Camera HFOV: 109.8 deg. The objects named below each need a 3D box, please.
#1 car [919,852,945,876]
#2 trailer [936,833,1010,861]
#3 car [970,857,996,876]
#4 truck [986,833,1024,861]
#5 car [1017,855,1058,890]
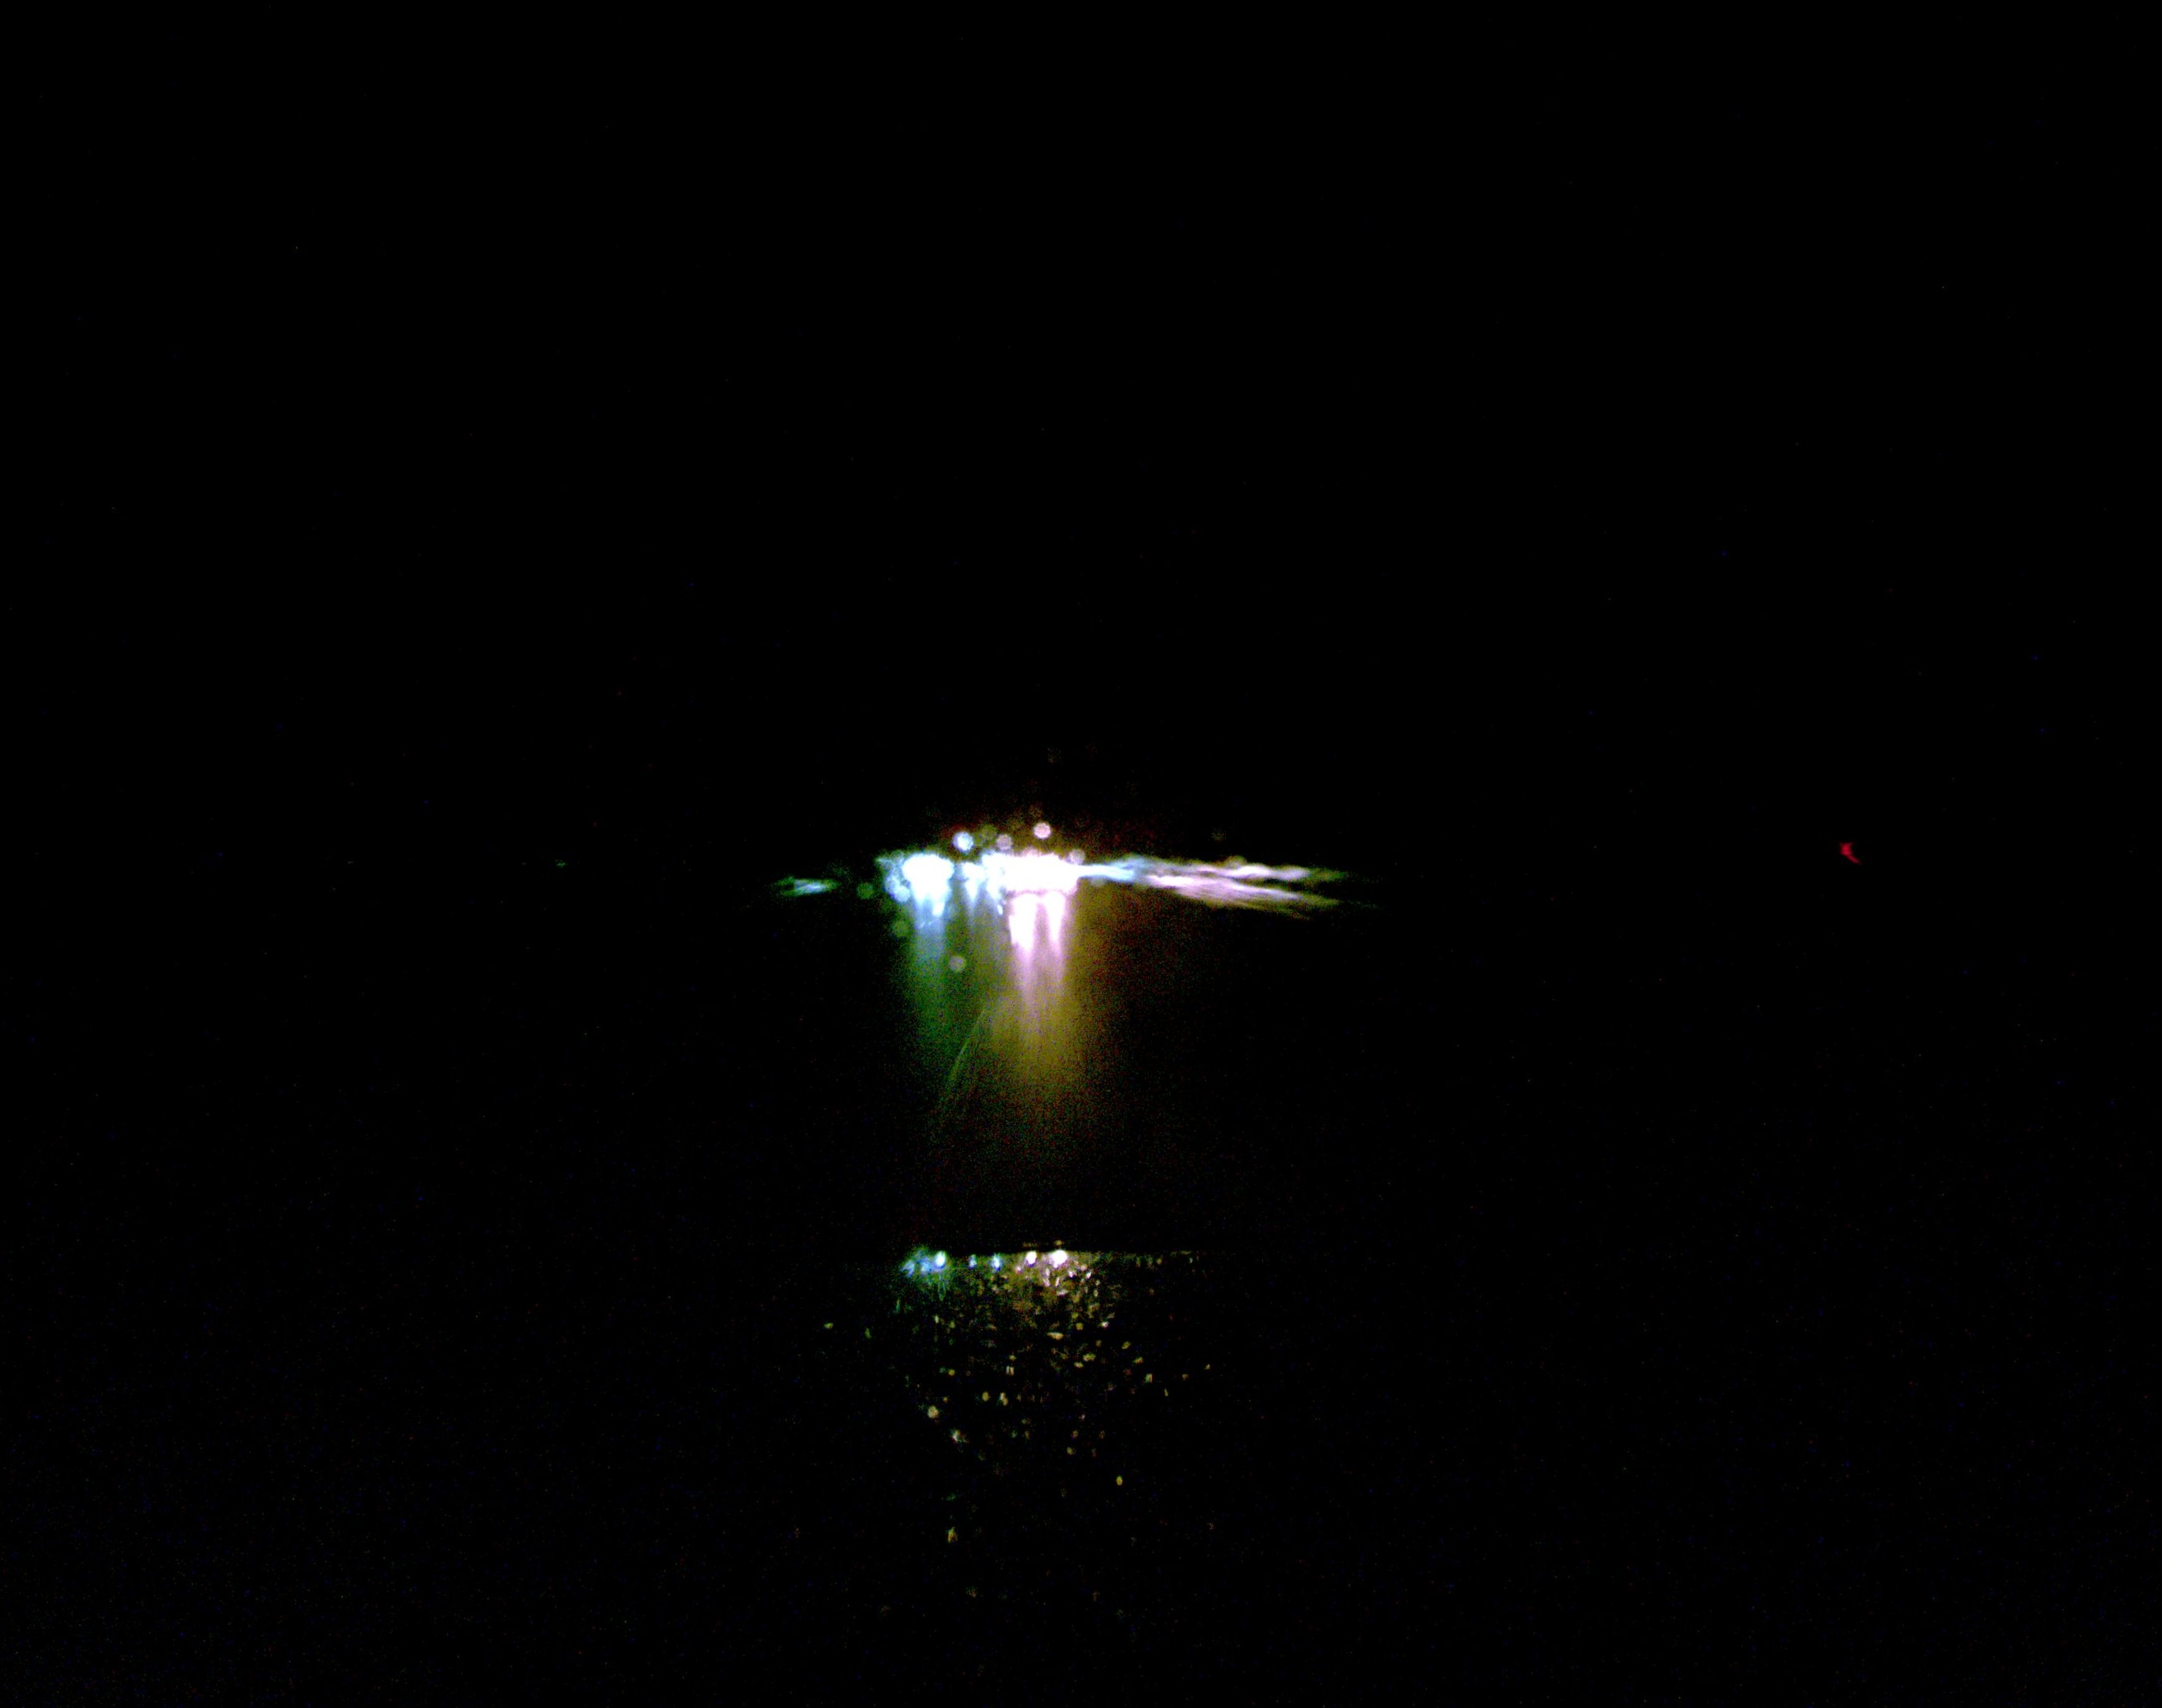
[{"bbox_3d":[-11.394,0.745,58.218,1.742,1.674,4.116,-2,2,-9],"label":"car"},{"bbox_3d":[-18.099,-1.048,126.480,13.671,4.312,2.544,-1,2,33],"label":"trailer"},{"bbox_3d":[-7.399,0.906,57.063,1.761,1.304,4.081,-2,0,-10],"label":"car"},{"bbox_3d":[-12.238,-1.152,122.720,5.548,4.312,2.544,-1,2,33],"label":"truck"},{"bbox_3d":[-1.981,0.805,34.880,1.687,1.442,3.641,-3,0,-3],"label":"car"}]
